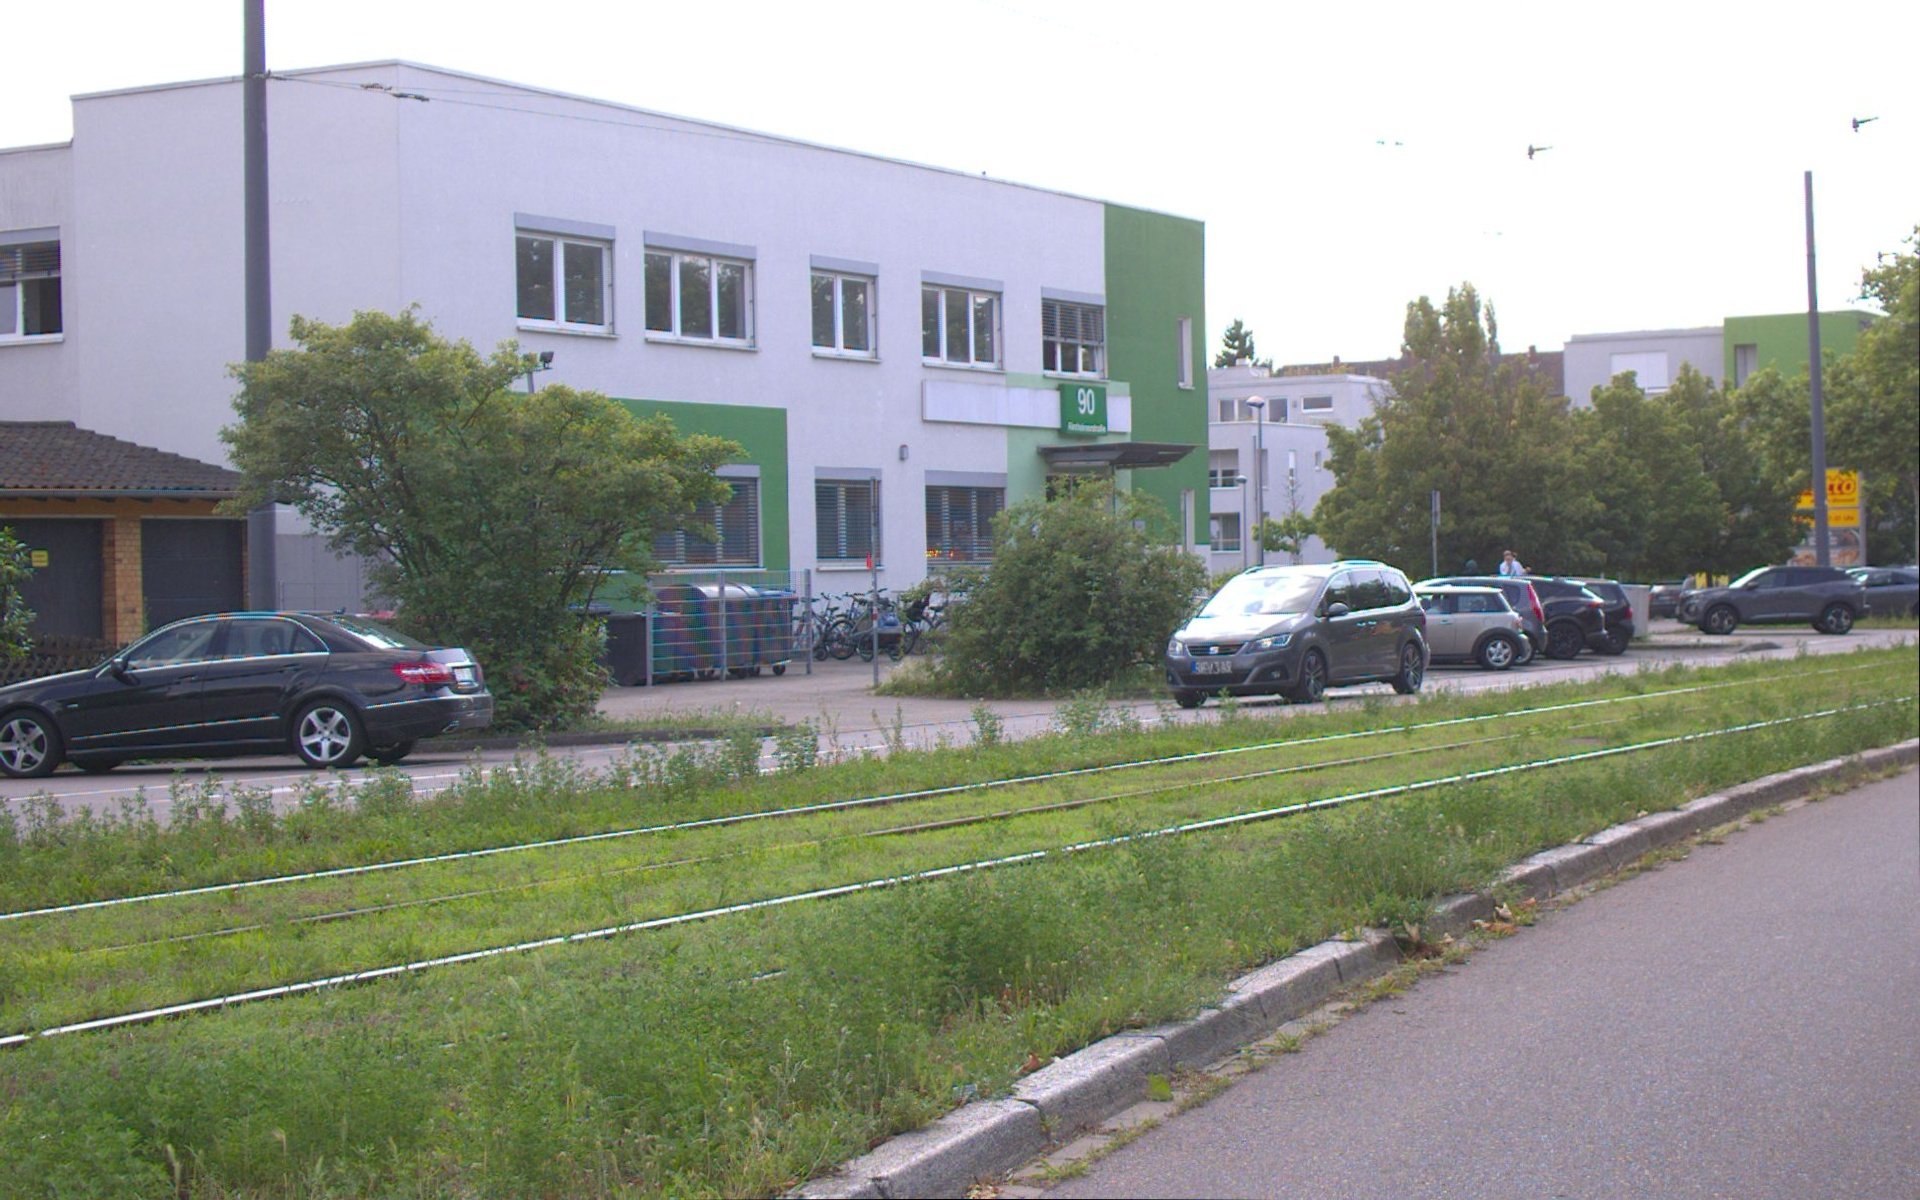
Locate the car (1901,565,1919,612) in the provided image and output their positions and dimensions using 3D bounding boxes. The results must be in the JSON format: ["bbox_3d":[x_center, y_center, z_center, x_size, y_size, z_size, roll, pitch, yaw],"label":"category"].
[{"bbox_3d":[29.787,-0.375,100.221,4.302,1.359,1.901,-1,0,7],"label":"car"}]

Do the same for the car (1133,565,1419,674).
[{"bbox_3d":[5.043,0.297,55.235,4.300,1.623,1.902,-1,0,-4],"label":"car"}]

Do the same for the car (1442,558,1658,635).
[{"bbox_3d":[11.782,-0.070,68.902,4.158,1.499,1.860,0,0,7],"label":"car"}]

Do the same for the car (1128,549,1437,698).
[{"bbox_3d":[4.080,0.262,42.725,1.997,1.716,4.733,-1,1,30],"label":"car"}]

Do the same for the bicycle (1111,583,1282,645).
[{"bbox_3d":[4.633,0.279,67.425,3.138,1.162,1.140,-1,0,25],"label":"bicycle"}]

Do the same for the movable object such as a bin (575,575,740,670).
[{"bbox_3d":[-4.399,0.325,50.108,1.374,1.322,2.113,-1,1,32],"label":"movable object such as a bin"}]

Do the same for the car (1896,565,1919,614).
[{"bbox_3d":[28.423,-0.331,95.734,4.302,1.359,1.901,-1,0,7],"label":"car"}]

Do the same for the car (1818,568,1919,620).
[{"bbox_3d":[25.517,-0.185,92.835,4.302,1.359,1.901,-1,0,7],"label":"car"}]

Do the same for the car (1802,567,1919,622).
[{"bbox_3d":[24.475,-0.167,90.458,4.302,1.359,1.901,-1,0,7],"label":"car"}]

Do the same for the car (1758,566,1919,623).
[{"bbox_3d":[22.678,-0.151,87.662,4.302,1.359,1.901,-1,0,7],"label":"car"}]

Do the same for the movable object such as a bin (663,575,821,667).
[{"bbox_3d":[-3.290,0.314,51.992,1.374,1.322,2.128,-1,1,32],"label":"movable object such as a bin"}]

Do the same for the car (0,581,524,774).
[{"bbox_3d":[-6.550,0.703,31.795,4.566,1.575,1.999,-2,0,9],"label":"car"}]

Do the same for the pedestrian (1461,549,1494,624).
[{"bbox_3d":[11.586,-0.309,76.974,0.596,1.669,0.540,-1,0,20],"label":"pedestrian"}]

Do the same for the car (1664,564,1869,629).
[{"bbox_3d":[18.337,-0.086,78.328,4.302,1.359,1.902,-1,0,5],"label":"car"}]

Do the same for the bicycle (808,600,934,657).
[{"bbox_3d":[-1.576,0.506,60.600,2.156,0.967,0.729,-1,0,33],"label":"bicycle"}]

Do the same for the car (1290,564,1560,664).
[{"bbox_3d":[7.810,0.220,57.999,4.301,1.623,1.902,0,0,1],"label":"car"}]

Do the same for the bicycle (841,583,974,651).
[{"bbox_3d":[-0.938,0.308,61.284,2.348,1.162,0.759,-1,0,35],"label":"bicycle"}]

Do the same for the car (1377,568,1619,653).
[{"bbox_3d":[9.834,0.177,63.049,4.157,1.499,1.860,0,0,1],"label":"car"}]

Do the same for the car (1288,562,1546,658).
[{"bbox_3d":[8.008,0.167,60.521,4.301,1.623,1.902,0,0,1],"label":"car"}]

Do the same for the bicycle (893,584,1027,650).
[{"bbox_3d":[-0.007,0.316,62.071,2.415,1.162,0.747,-1,0,36],"label":"bicycle"}]

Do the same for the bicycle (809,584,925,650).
[{"bbox_3d":[-1.562,0.286,57.731,1.794,1.078,0.735,-1,0,27],"label":"bicycle"}]

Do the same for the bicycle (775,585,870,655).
[{"bbox_3d":[-2.377,0.346,59.291,0.704,1.162,1.620,-1,1,-45],"label":"bicycle"}]
